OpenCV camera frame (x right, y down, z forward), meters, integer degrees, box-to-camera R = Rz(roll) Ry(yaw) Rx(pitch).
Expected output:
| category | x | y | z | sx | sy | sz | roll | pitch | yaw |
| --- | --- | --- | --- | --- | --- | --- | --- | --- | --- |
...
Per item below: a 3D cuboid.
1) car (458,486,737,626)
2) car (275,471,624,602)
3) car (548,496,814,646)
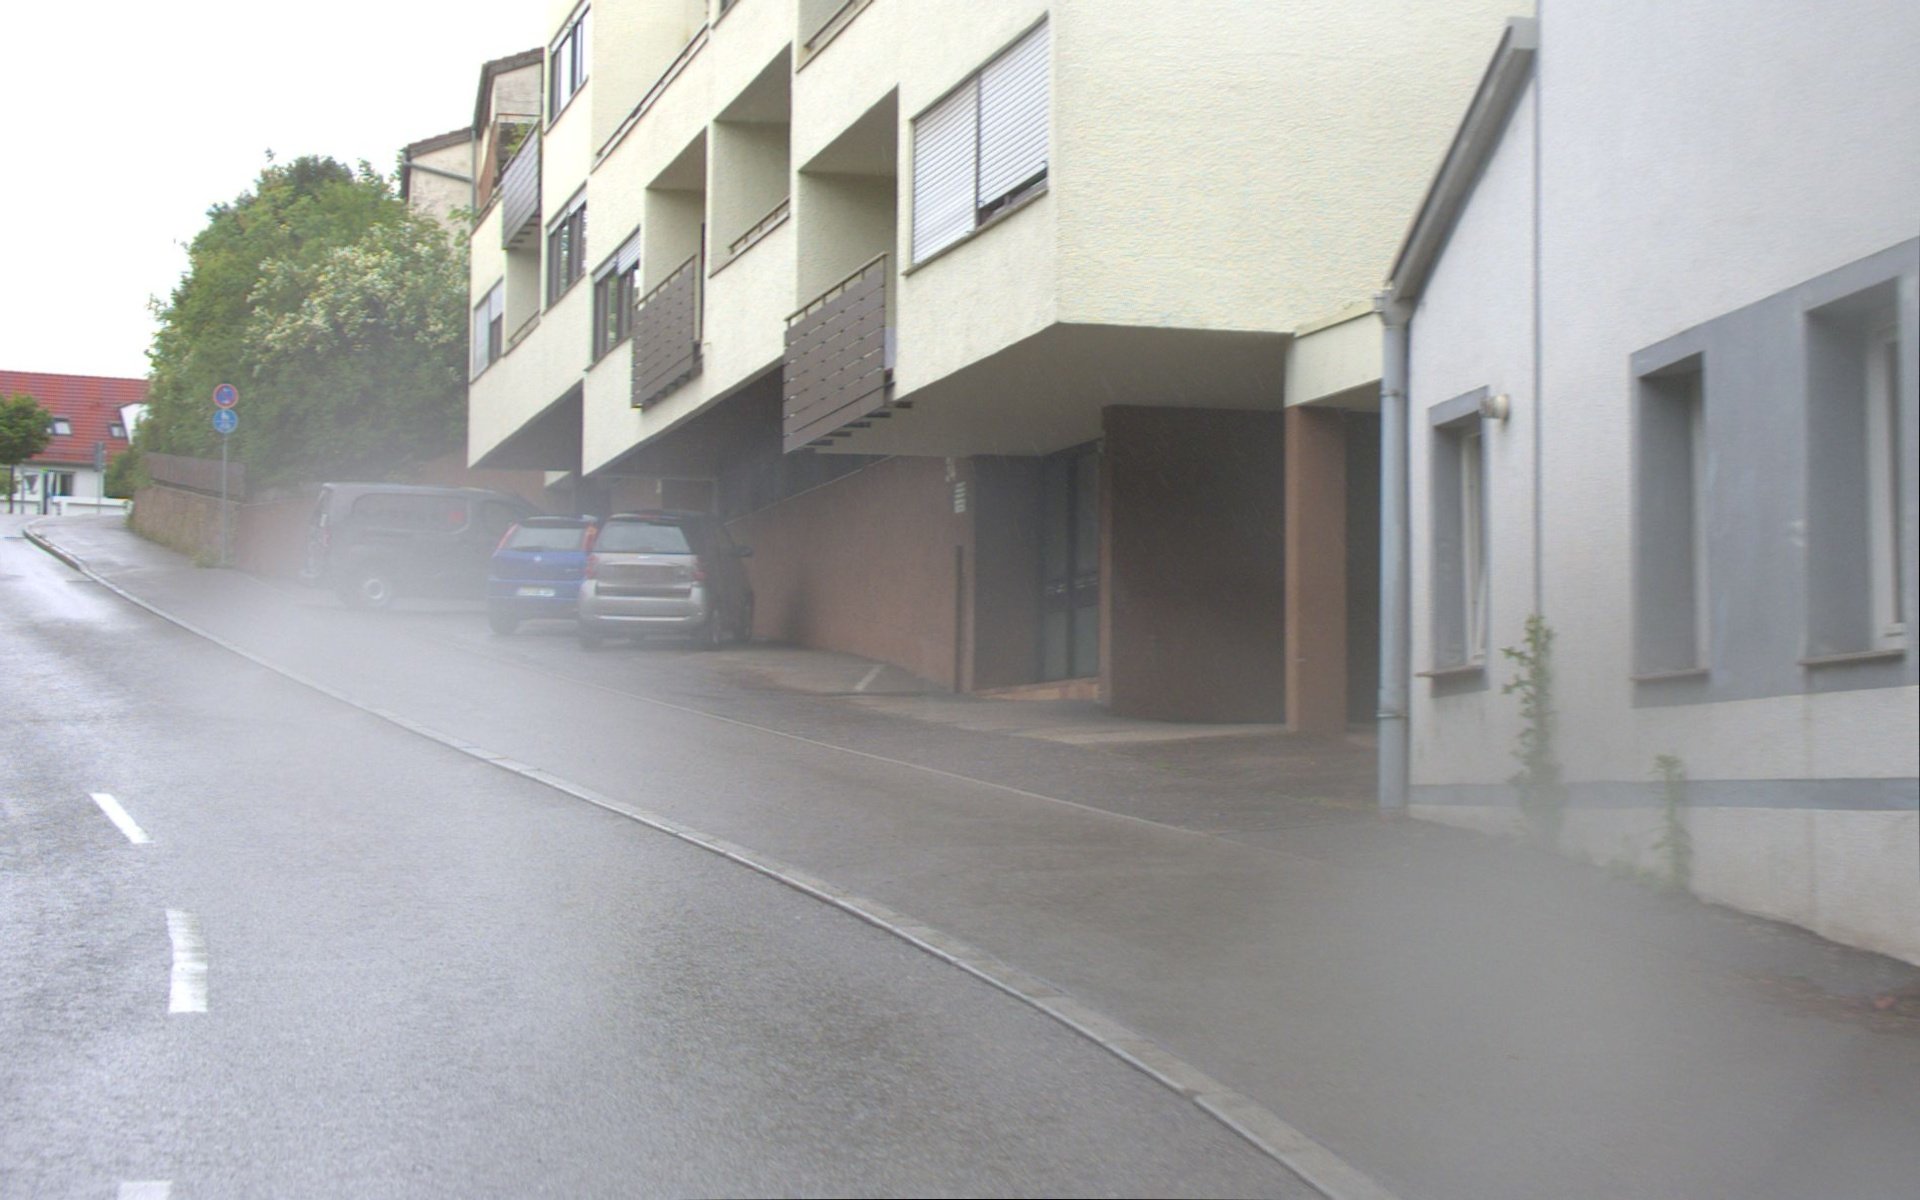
| category | x | y | z | sx | sy | sz | roll | pitch | yaw |
| --- | --- | --- | --- | --- | --- | --- | --- | --- | --- |
| car | -4.462 | -0.551 | 42.897 | 1.784 | 1.573 | 4.063 | 4 | 2 | 20 |
| car | -7.389 | -0.921 | 49.719 | 4.706 | 1.814 | 2.001 | 0 | 3 | -18 |
| car | -3.196 | -0.357 | 40.190 | 1.783 | 1.573 | 4.064 | 3 | 2 | 15 |
